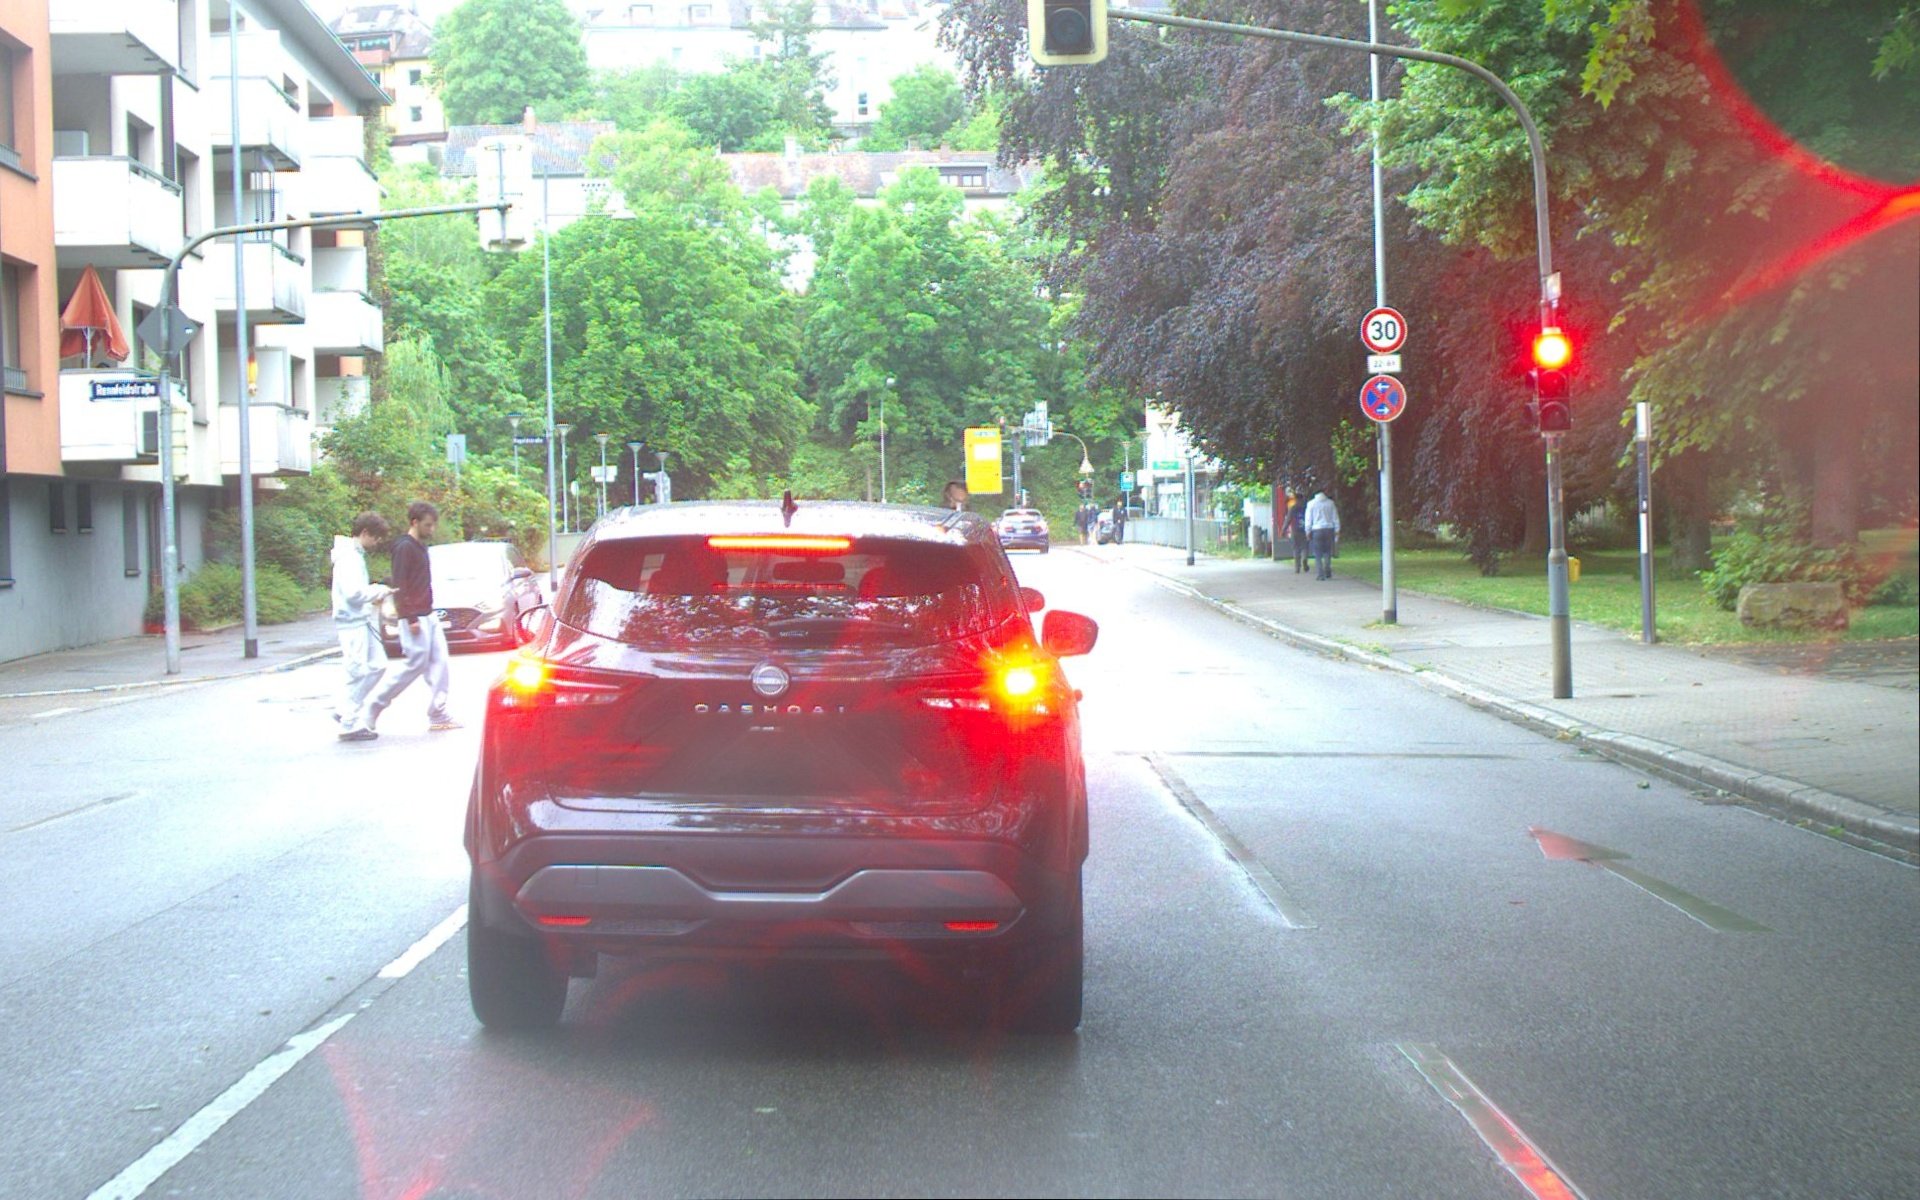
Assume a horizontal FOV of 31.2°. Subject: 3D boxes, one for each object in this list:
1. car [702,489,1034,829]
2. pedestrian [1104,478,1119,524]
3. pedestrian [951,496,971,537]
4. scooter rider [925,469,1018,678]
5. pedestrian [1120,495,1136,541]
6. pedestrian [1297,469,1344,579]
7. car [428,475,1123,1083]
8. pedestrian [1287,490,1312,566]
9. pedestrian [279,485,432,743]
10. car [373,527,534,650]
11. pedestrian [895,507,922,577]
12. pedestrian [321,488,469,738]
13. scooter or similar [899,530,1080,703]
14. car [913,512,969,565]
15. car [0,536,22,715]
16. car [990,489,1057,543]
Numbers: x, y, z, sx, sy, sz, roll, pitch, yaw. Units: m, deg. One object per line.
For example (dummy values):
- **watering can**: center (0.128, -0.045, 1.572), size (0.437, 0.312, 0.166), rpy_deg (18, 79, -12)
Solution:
- **car**: center (-0.501, 0.268, 19.985), size (1.698, 1.739, 3.641), rpy_deg (-2, 1, 0)
- **pedestrian**: center (5.941, -3.889, 135.102), size (0.508, 1.795, 0.619), rpy_deg (-2, 1, 0)
- **pedestrian**: center (0.054, -3.418, 140.565), size (0.509, 1.667, 0.658), rpy_deg (-1, 1, 28)
- **scooter rider**: center (0.104, -0.226, 29.491), size (0.643, 1.760, 0.735), rpy_deg (-1, 0, 12)
- **pedestrian**: center (6.599, -3.214, 135.178), size (0.508, 1.795, 0.619), rpy_deg (-2, 1, -1)
- **pedestrian**: center (6.683, -1.403, 63.709), size (0.725, 2.007, 0.851), rpy_deg (-2, 1, 0)
- **car**: center (-0.524, 0.448, 11.503), size (1.913, 1.674, 4.000), rpy_deg (0, 1, 0)
- **pedestrian**: center (6.712, -1.423, 67.950), size (0.390, 1.497, 0.559), rpy_deg (-2, 1, 0)
- **pedestrian**: center (-4.543, 0.097, 25.824), size (1.035, 1.869, 0.658), rpy_deg (-3, 1, -11)
- **car**: center (-6.777, -0.188, 46.317), size (1.795, 1.528, 3.868), rpy_deg (-2, 1, -4)
- **pedestrian**: center (-1.341, -1.505, 89.131), size (0.508, 1.795, 0.620), rpy_deg (-2, 1, -15)
- **pedestrian**: center (-4.369, 0.089, 26.572), size (1.035, 1.869, 0.658), rpy_deg (-3, 1, -11)
- **scooter or similar**: center (0.263, 0.141, 29.468), size (1.394, 1.441, 0.816), rpy_deg (-1, 0, 12)
- **car**: center (-0.583, -1.891, 104.246), size (1.634, 1.527, 3.968), rpy_deg (-2, 1, 0)
- **car**: center (-10.828, 0.318, 30.984), size (4.125, 1.620, 1.851), rpy_deg (-2, 1, 7)
- **car**: center (2.167, -2.828, 116.326), size (1.994, 1.729, 3.999), rpy_deg (1, 1, 4)
